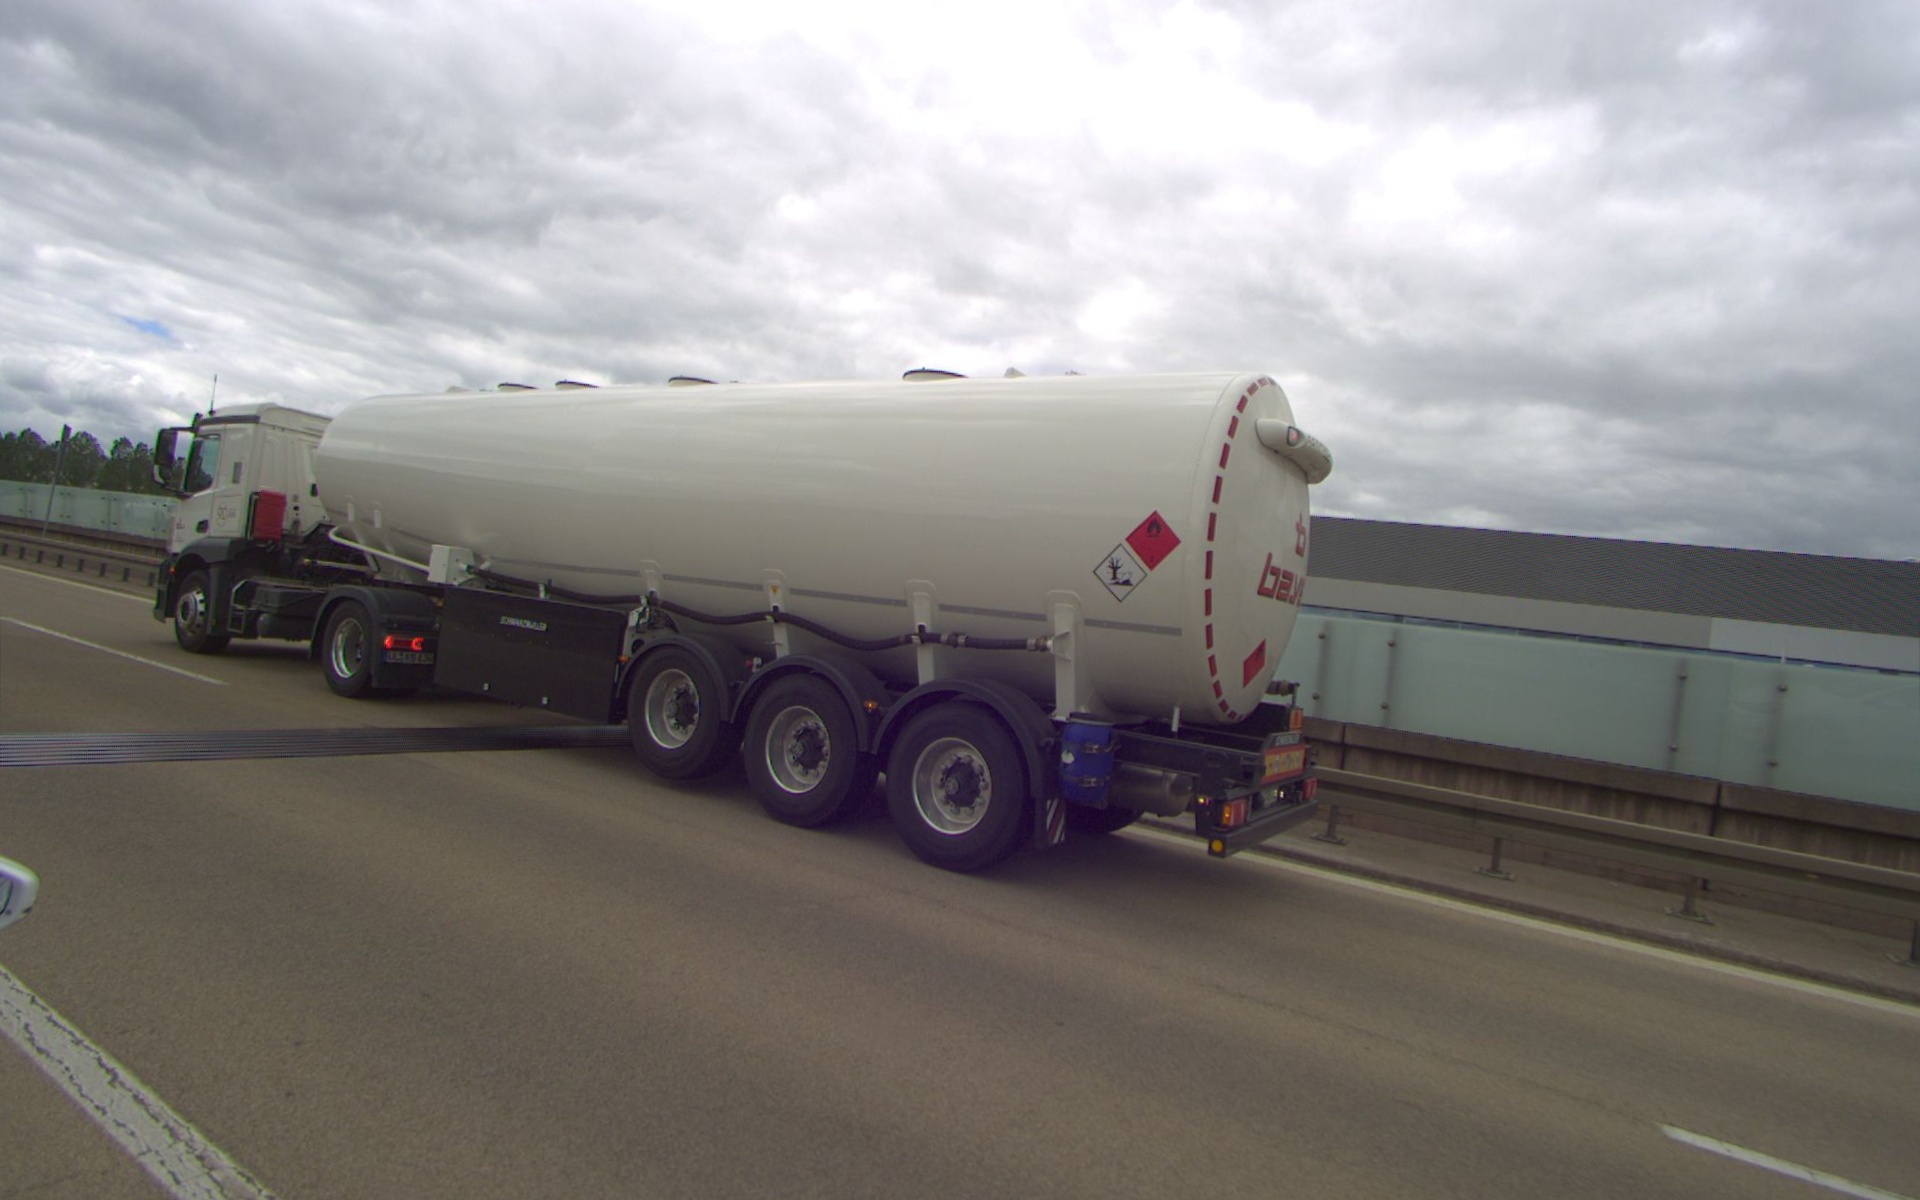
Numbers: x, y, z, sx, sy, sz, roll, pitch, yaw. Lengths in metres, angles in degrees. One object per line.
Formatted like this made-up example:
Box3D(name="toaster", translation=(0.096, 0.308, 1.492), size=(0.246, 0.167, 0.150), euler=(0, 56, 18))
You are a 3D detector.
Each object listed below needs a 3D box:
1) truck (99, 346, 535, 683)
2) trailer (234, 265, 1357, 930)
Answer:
Box3D(name="truck", translation=(-8.408, -1.049, 13.109), size=(4.823, 3.555, 2.635), euler=(7, -1, 32))
Box3D(name="trailer", translation=(-2.521, -0.398, 9.430), size=(11.034, 3.585, 2.655), euler=(6, -1, 32))
